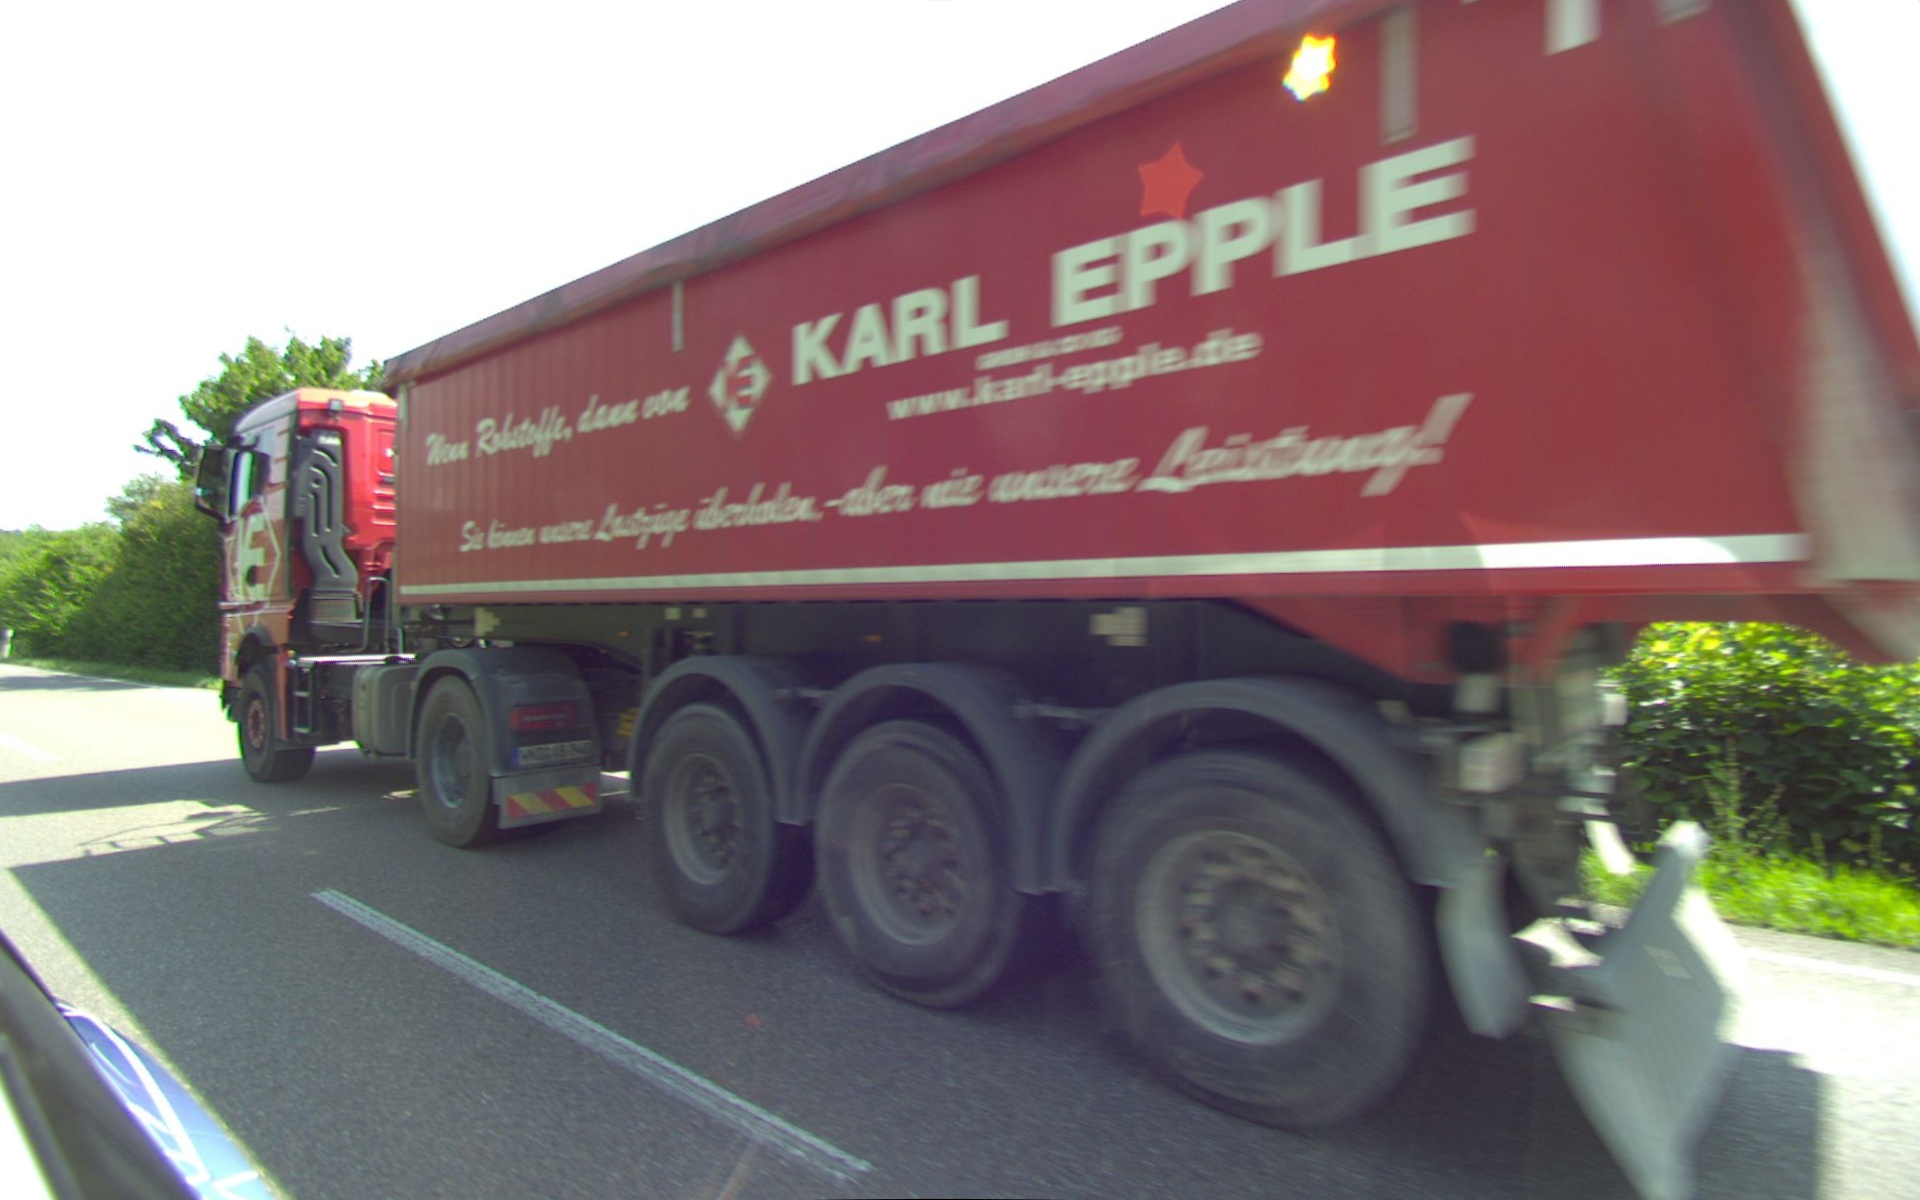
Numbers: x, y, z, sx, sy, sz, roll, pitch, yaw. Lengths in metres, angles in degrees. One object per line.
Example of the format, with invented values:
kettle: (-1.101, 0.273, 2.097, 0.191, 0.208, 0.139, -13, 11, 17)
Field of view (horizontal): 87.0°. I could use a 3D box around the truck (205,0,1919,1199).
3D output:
truck: (-1.760, -0.211, 6.583, 12.629, 3.479, 2.525, -1, -1, 42)
